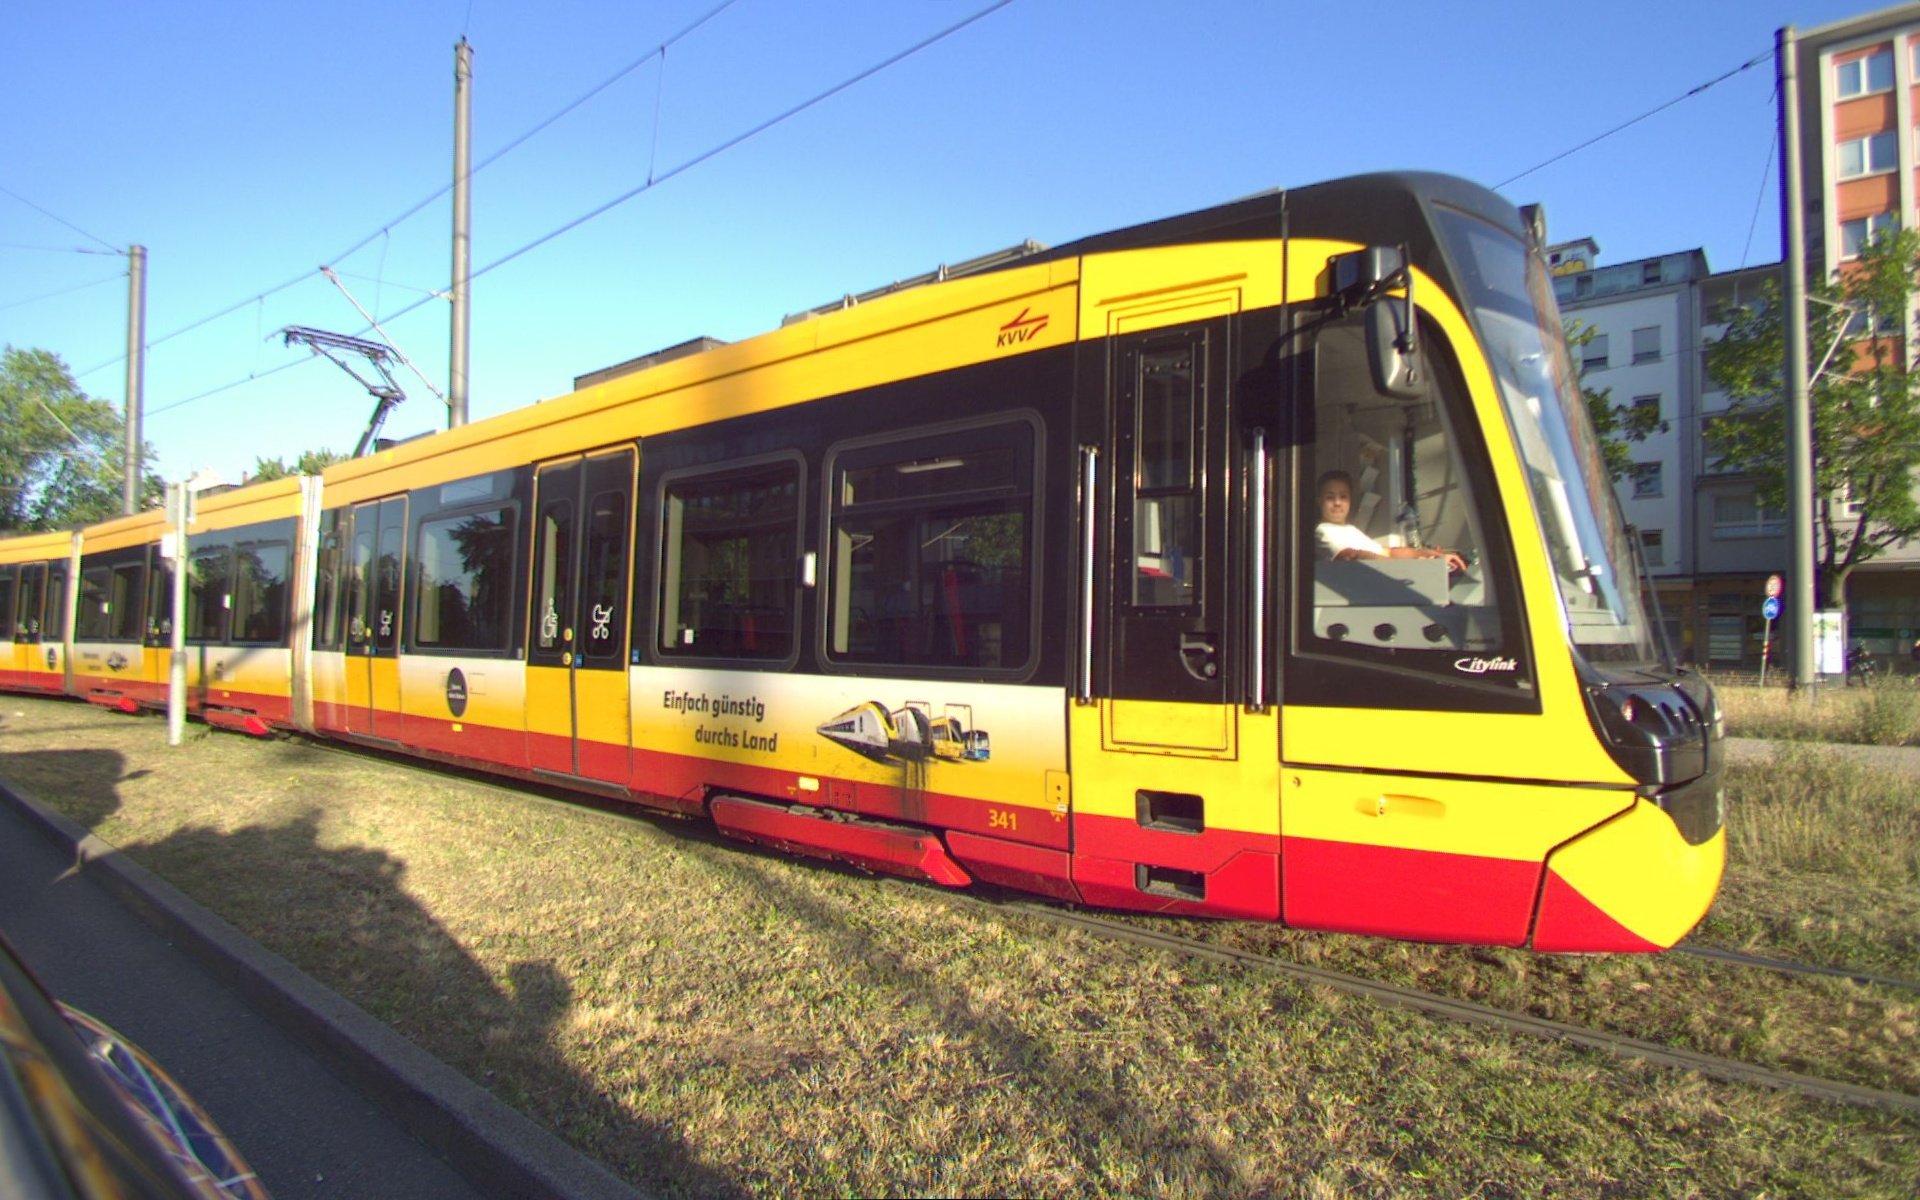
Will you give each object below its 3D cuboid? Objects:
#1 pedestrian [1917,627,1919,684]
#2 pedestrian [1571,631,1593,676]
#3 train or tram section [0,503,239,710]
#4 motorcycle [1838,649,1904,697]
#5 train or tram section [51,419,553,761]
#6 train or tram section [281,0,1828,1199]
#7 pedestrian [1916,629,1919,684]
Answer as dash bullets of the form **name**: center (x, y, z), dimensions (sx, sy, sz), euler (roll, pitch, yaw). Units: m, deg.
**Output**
- **pedestrian**: center (30.761, 1.759, 31.978), dimensions (0.704, 1.806, 0.587), euler (-2, -2, 41)
- **pedestrian**: center (25.182, 2.155, 40.978), dimensions (0.630, 1.782, 0.589), euler (-1, -2, 41)
- **train or tram section**: center (-20.796, 0.236, 22.763), dimensions (12.148, 3.767, 2.884), euler (-1, -2, 31)
- **motorcycle**: center (26.616, 2.120, 29.581), dimensions (1.390, 1.328, 0.376), euler (-2, -2, 43)
- **train or tram section**: center (-11.053, 0.017, 16.016), dimensions (12.166, 3.767, 2.850), euler (-1, -2, 38)
- **train or tram section**: center (-1.782, -0.197, 8.137), dimensions (13.213, 3.767, 2.878), euler (-1, -2, 42)
- **pedestrian**: center (31.176, 1.807, 32.454), dimensions (0.698, 1.764, 0.642), euler (-2, -2, 41)
